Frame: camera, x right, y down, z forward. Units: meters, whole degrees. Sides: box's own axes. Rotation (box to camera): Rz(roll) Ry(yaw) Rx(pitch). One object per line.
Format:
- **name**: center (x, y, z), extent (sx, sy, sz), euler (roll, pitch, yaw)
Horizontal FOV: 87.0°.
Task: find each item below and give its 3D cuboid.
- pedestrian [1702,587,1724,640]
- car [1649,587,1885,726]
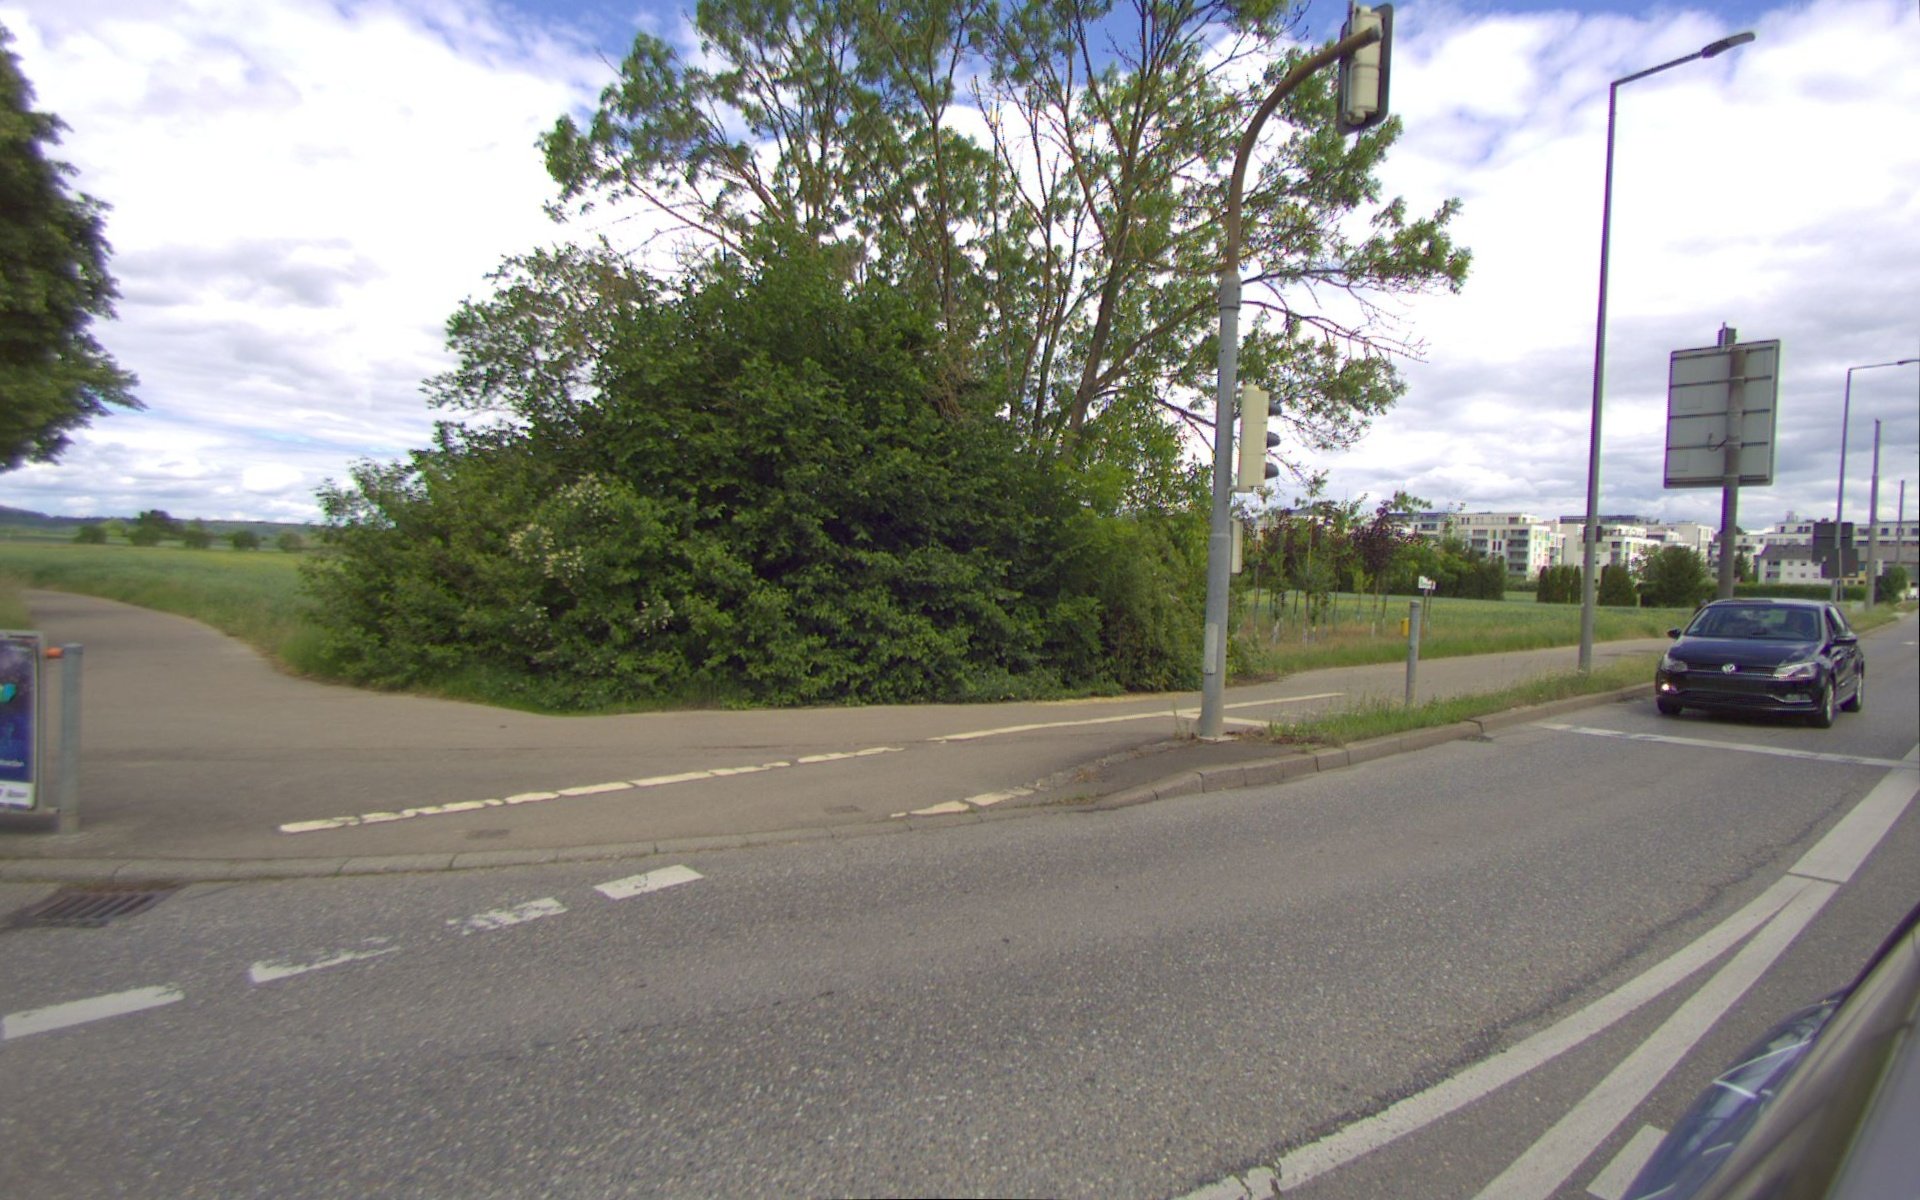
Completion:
- **pedestrian**: center (24.547, 0.427, 32.999), extent (0.615, 1.724, 0.491), euler (-1, 1, -44)
- **car**: center (10.198, 0.582, 12.707), extent (3.675, 1.436, 1.681), euler (-1, 2, -41)
